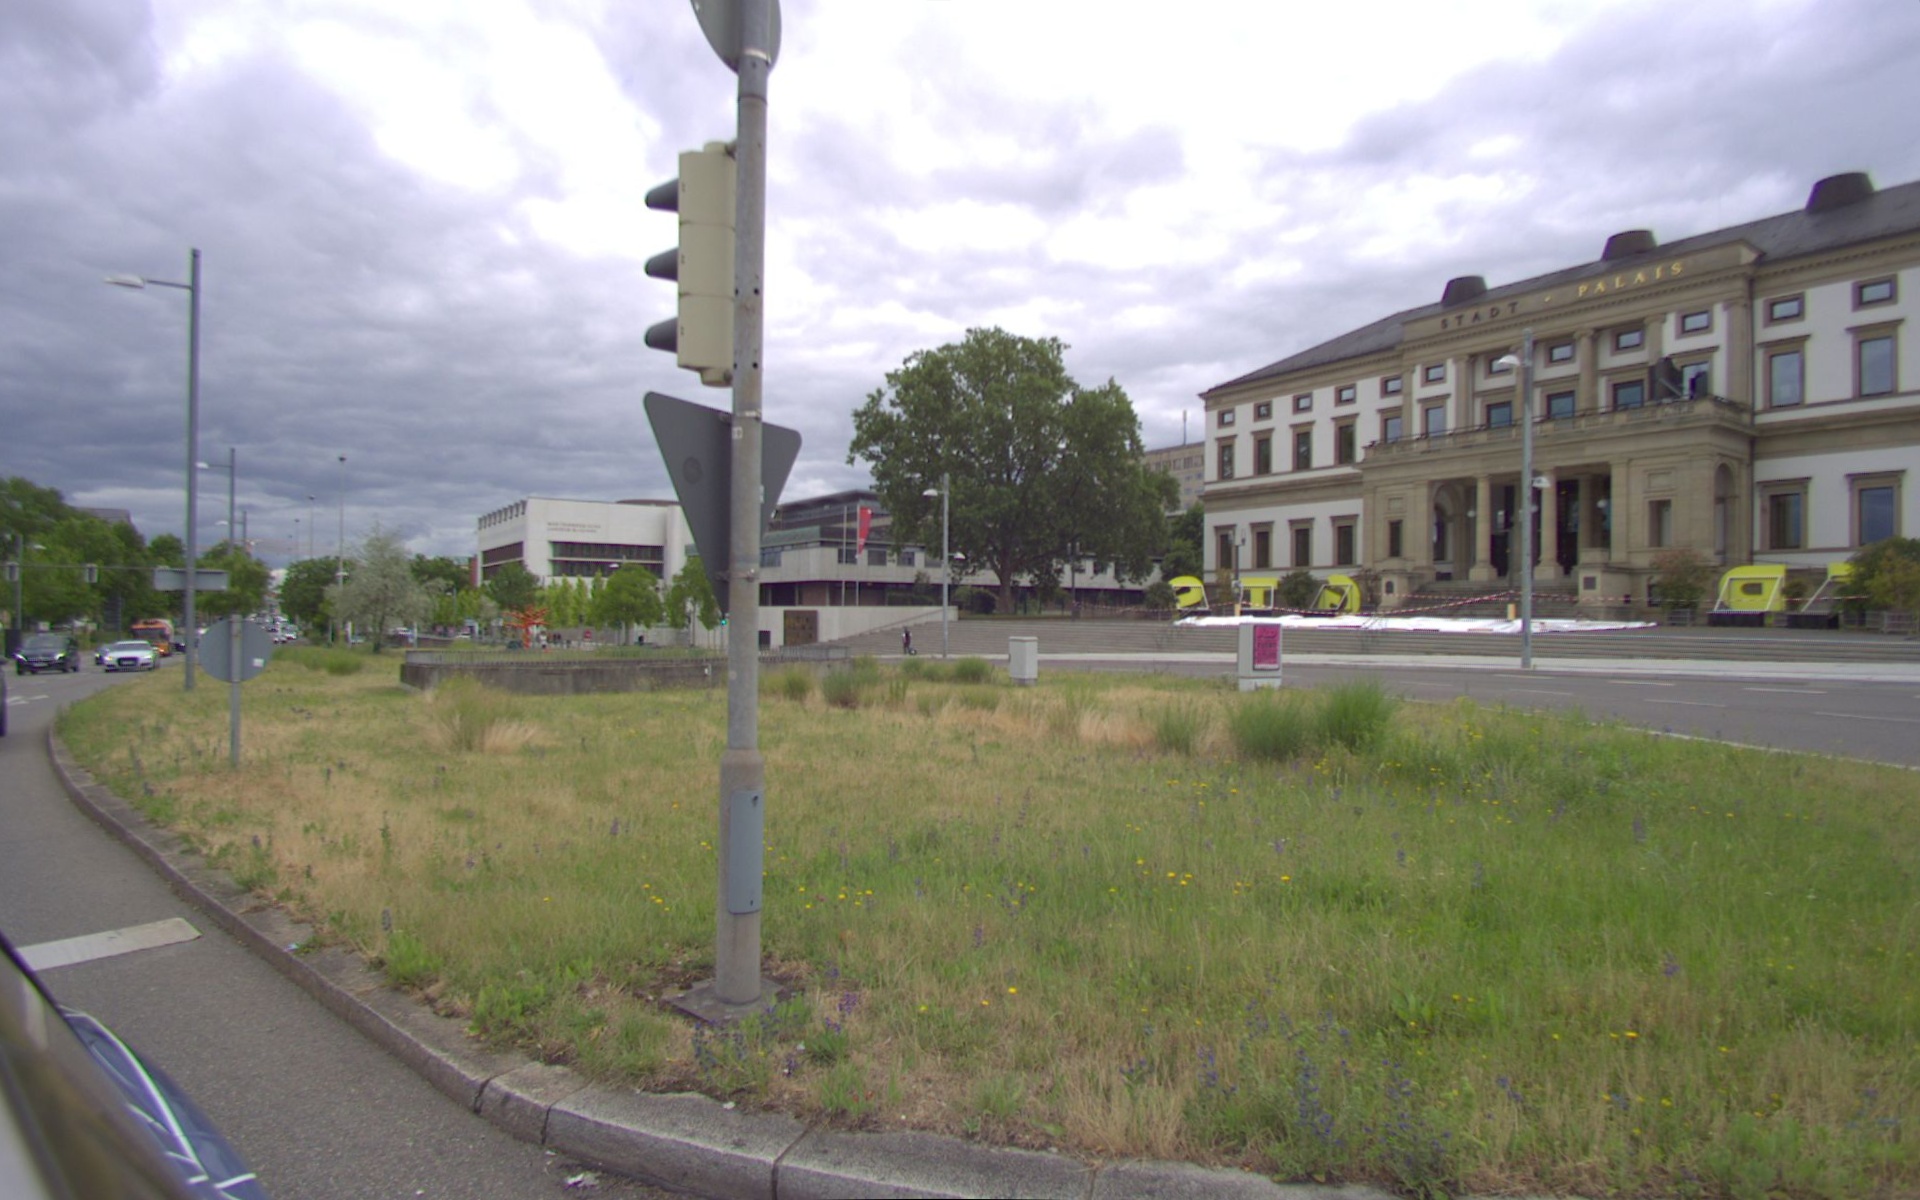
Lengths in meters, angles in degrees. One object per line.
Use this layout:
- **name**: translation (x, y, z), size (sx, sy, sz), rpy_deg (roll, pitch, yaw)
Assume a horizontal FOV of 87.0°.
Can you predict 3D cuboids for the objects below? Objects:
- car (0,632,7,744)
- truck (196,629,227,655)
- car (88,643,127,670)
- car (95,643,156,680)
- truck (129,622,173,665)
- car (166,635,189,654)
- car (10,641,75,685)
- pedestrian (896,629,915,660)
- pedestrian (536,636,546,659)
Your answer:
- **car**: translation (-14.359, 1.277, 13.633), size (1.975, 1.651, 5.028), rpy_deg (0, -2, -41)
- **truck**: translation (-83.493, 4.668, 112.978), size (1.923, 2.805, 5.807), rpy_deg (0, -1, -28)
- **car**: translation (-58.454, 3.866, 69.467), size (1.830, 1.752, 3.748), rpy_deg (0, -2, -37)
- **car**: translation (-40.318, 2.935, 48.983), size (2.063, 1.621, 4.421), rpy_deg (1, -2, -37)
- **truck**: translation (-72.524, 3.878, 90.853), size (2.684, 3.643, 9.199), rpy_deg (0, -1, -36)
- **car**: translation (-80.531, 4.555, 104.162), size (1.754, 1.922, 3.808), rpy_deg (0, -2, -35)
- **car**: translation (-44.552, 3.020, 49.236), size (1.830, 2.003, 4.652), rpy_deg (1, -2, -36)
- **pedestrian**: translation (-3.100, 2.520, 57.750), size (0.673, 1.762, 0.892), rpy_deg (0, -2, -40)
- **pedestrian**: translation (-30.453, 3.414, 73.495), size (0.468, 1.647, 0.442), rpy_deg (-2, -2, 25)
